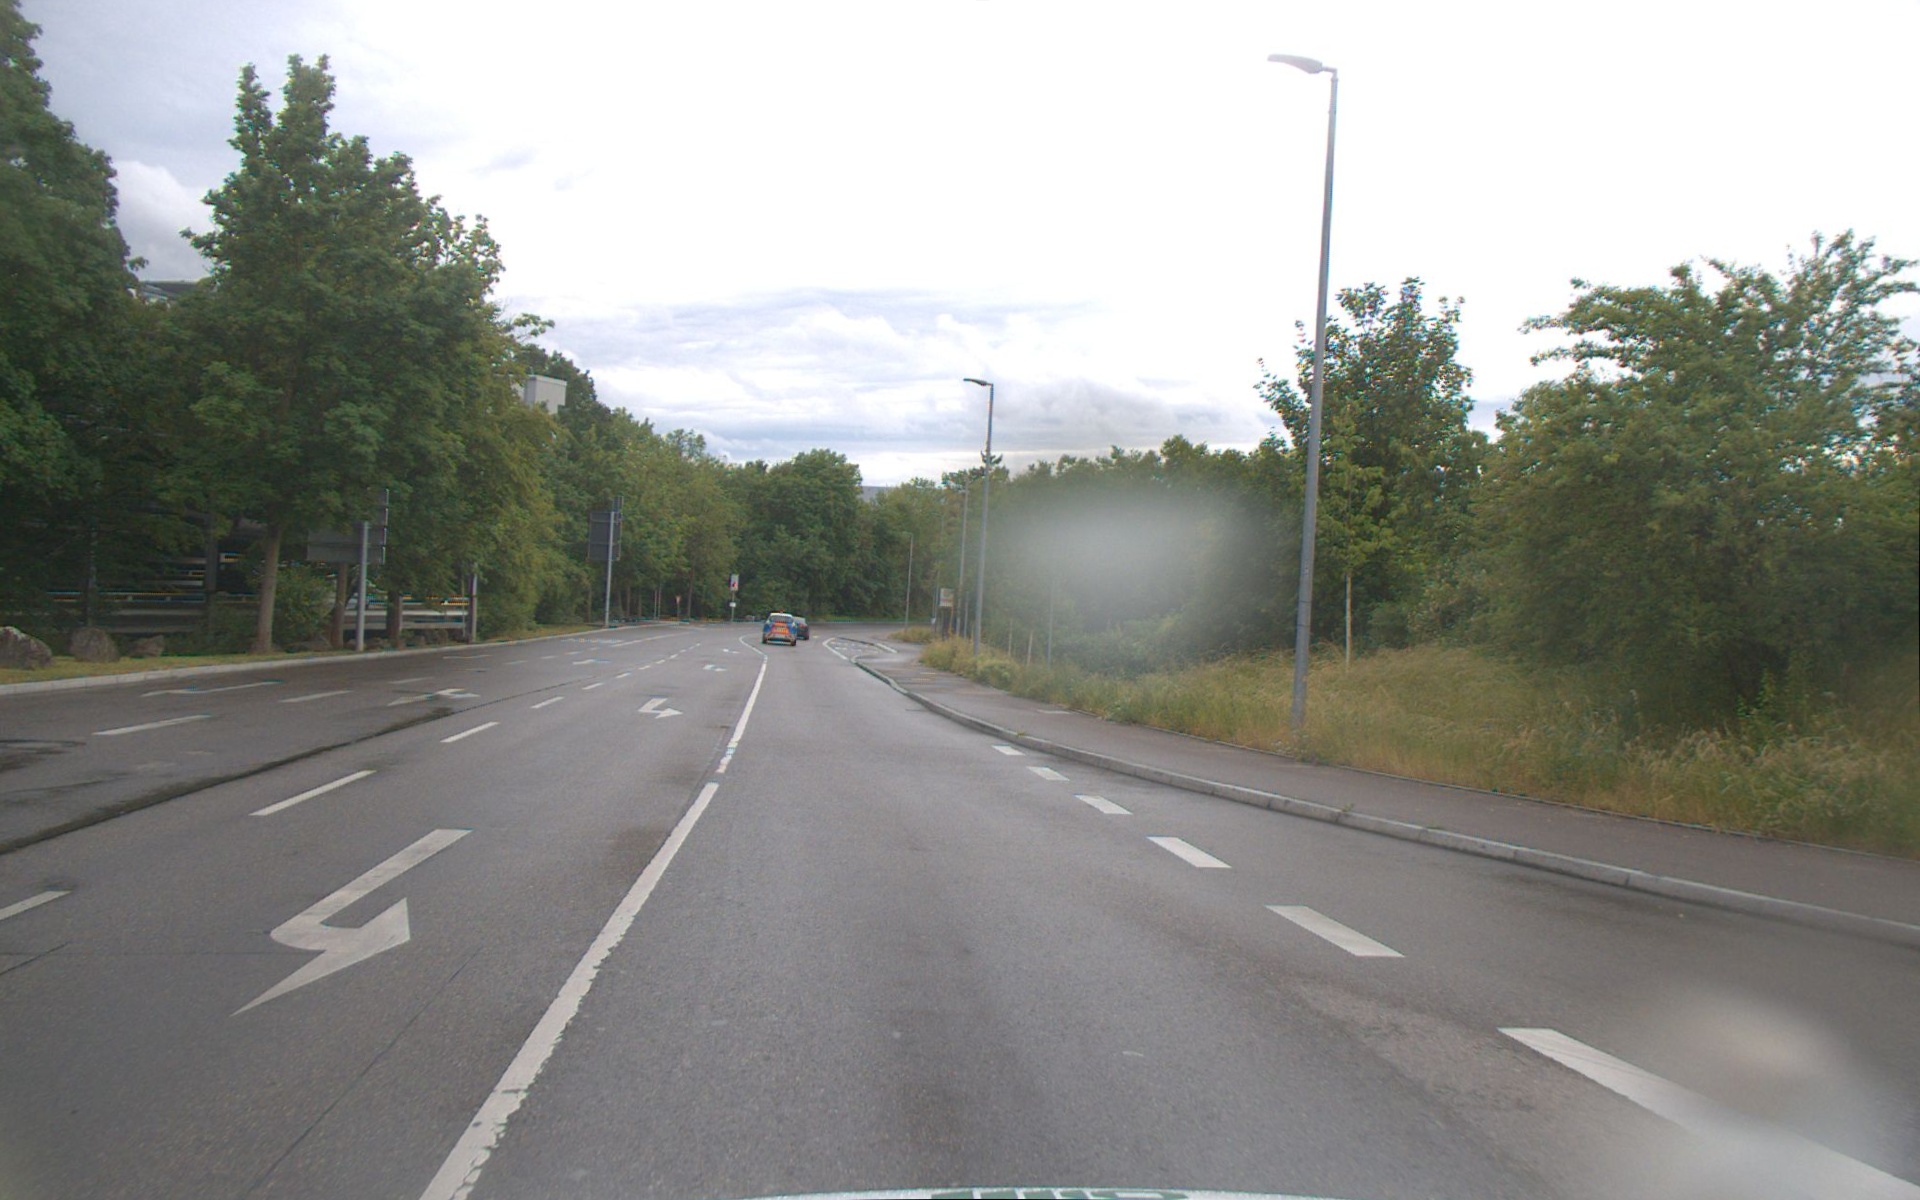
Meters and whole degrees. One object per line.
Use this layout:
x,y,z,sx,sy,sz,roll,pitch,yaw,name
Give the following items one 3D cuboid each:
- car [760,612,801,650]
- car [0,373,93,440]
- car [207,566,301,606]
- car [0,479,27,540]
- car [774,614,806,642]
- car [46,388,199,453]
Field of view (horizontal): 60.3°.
-9.112,1.551,84.283,1.955,1.718,3.996,2,1,-5,car
-26.644,-5.470,46.370,3.907,1.545,2.000,5,1,22,car
-30.331,-0.587,71.070,3.390,1.545,1.587,3,-1,15,car
-27.277,-2.587,44.215,3.907,1.545,2.000,5,1,22,car
-10.633,1.744,103.476,1.890,1.512,3.795,2,1,-6,car
-25.505,-5.476,50.408,3.907,1.545,2.000,5,1,22,car
